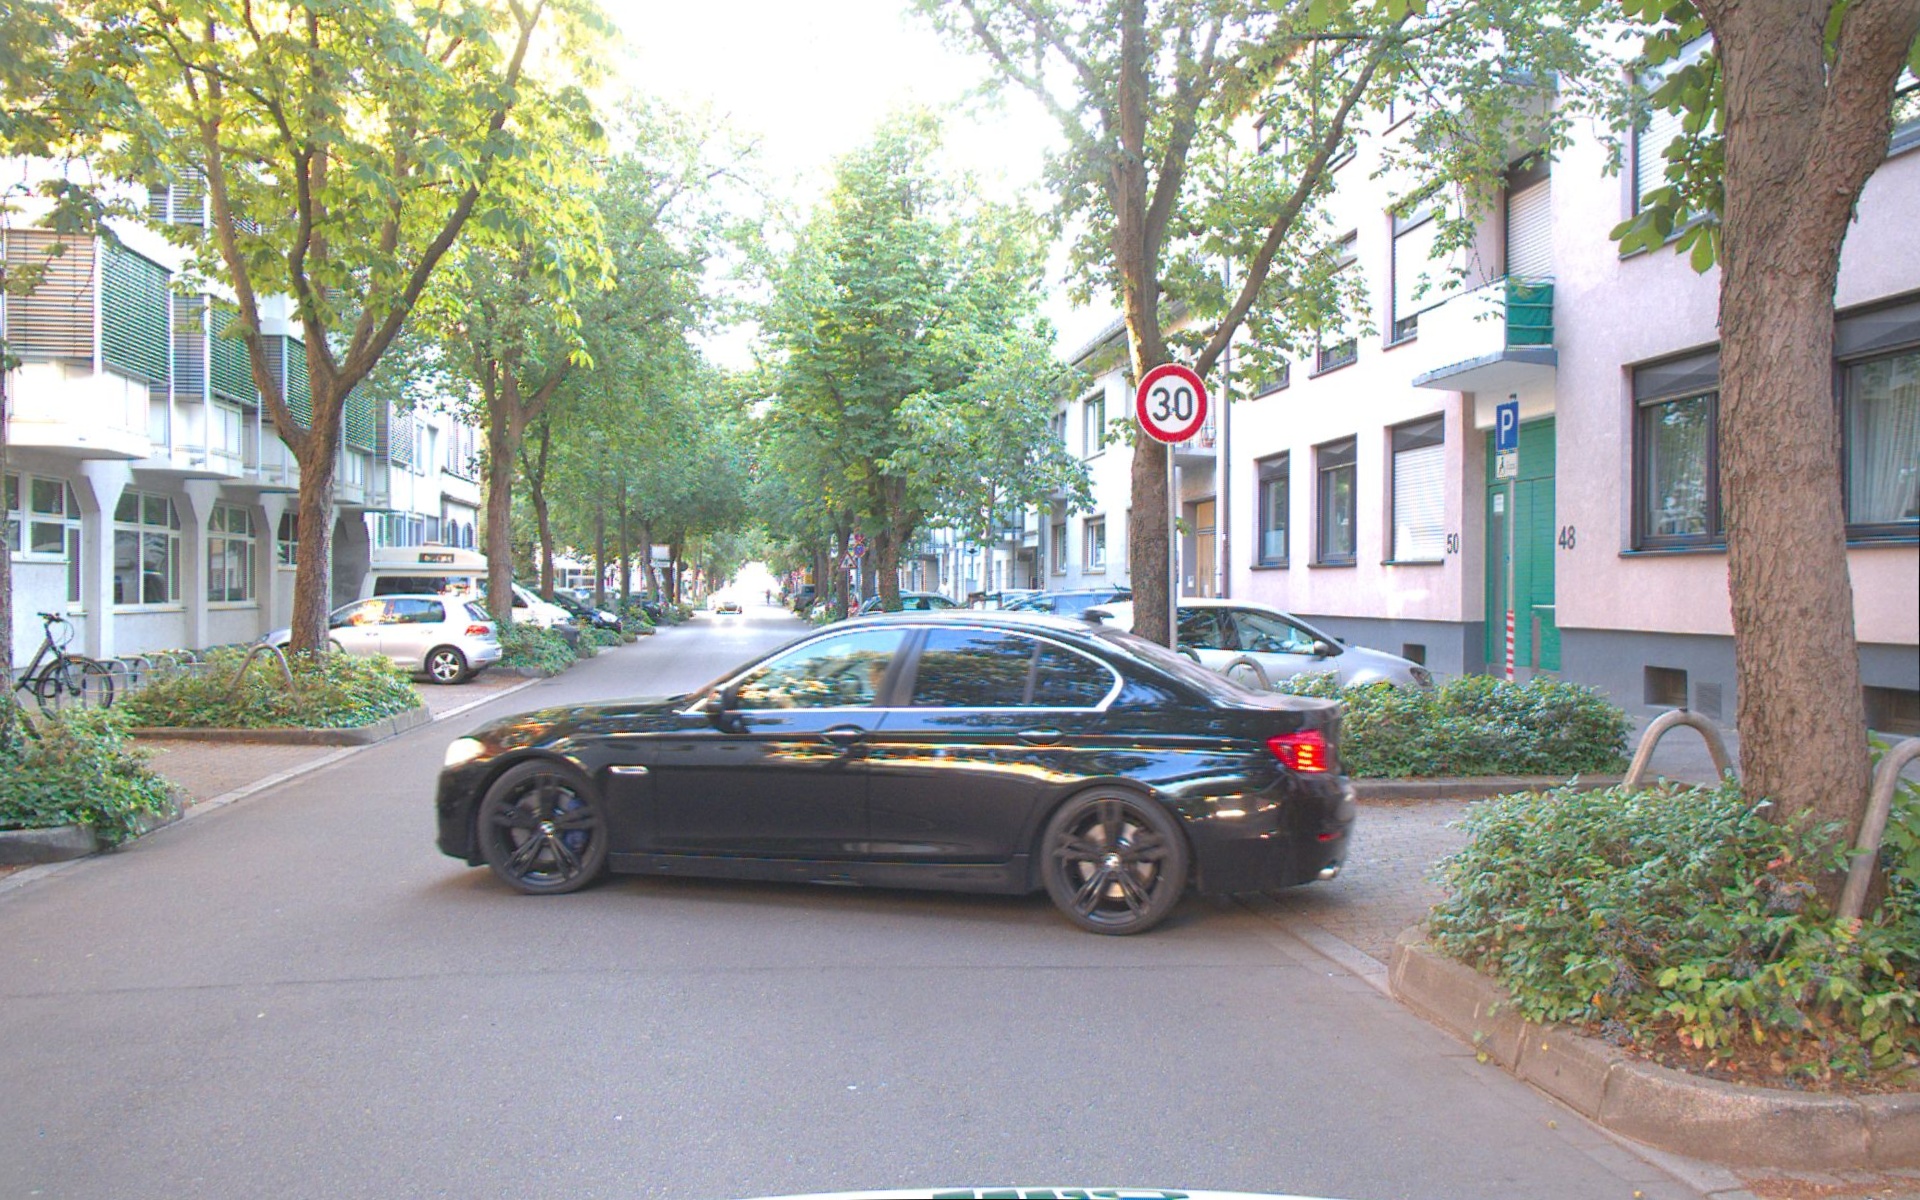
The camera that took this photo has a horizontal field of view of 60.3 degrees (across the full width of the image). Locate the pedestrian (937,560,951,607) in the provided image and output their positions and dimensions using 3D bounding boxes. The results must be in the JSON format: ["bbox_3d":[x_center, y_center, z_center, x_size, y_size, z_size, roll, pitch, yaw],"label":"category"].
[{"bbox_3d":[-0.716,-0.730,73.600,0.577,2.049,0.669,0,0,-6],"label":"pedestrian"}]

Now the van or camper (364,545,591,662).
[{"bbox_3d":[-10.676,0.058,36.875,4.575,2.521,1.997,0,0,-7],"label":"van or camper"}]

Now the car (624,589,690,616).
[{"bbox_3d":[-18.705,0.130,102.304,3.891,1.647,1.783,0,0,-6],"label":"car"}]

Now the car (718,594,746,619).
[{"bbox_3d":[-15.086,0.437,109.591,1.745,1.589,4.162,0,0,-6],"label":"car"}]

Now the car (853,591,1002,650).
[{"bbox_3d":[-0.913,0.536,44.933,3.893,1.554,1.782,0,0,-8],"label":"car"}]

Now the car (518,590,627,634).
[{"bbox_3d":[-15.017,0.442,64.266,3.891,1.647,1.783,0,0,-6],"label":"car"}]

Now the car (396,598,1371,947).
[{"bbox_3d":[-0.311,0.748,8.520,4.643,1.506,1.802,0,0,12],"label":"car"}]

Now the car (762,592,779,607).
[{"bbox_3d":[-20.980,-0.048,182.905,1.787,1.557,3.995,-1,0,-6],"label":"car"}]

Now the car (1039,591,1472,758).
[{"bbox_3d":[2.807,0.668,16.103,3.836,1.502,1.661,0,0,-9],"label":"car"}]

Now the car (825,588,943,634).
[{"bbox_3d":[-2.633,0.364,56.773,3.894,1.554,1.782,0,0,-9],"label":"car"}]

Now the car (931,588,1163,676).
[{"bbox_3d":[1.519,0.538,29.695,3.894,1.502,1.781,0,0,-9],"label":"car"}]

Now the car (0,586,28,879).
[{"bbox_3d":[-7.106,0.709,7.862,4.272,1.544,1.782,0,0,-7],"label":"car"}]

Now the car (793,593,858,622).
[{"bbox_3d":[-8.174,0.466,100.638,3.891,1.713,1.783,0,0,-6],"label":"car"}]

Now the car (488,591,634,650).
[{"bbox_3d":[-11.496,0.566,47.853,3.892,1.647,1.783,0,0,-6],"label":"car"}]

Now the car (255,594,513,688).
[{"bbox_3d":[-9.866,0.678,28.573,3.892,1.544,1.783,0,0,-6],"label":"car"}]

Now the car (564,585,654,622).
[{"bbox_3d":[-16.076,0.162,75.897,3.891,1.647,1.783,0,0,-6],"label":"car"}]

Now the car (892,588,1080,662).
[{"bbox_3d":[0.539,0.528,36.144,3.893,1.554,1.782,0,0,-8],"label":"car"}]
